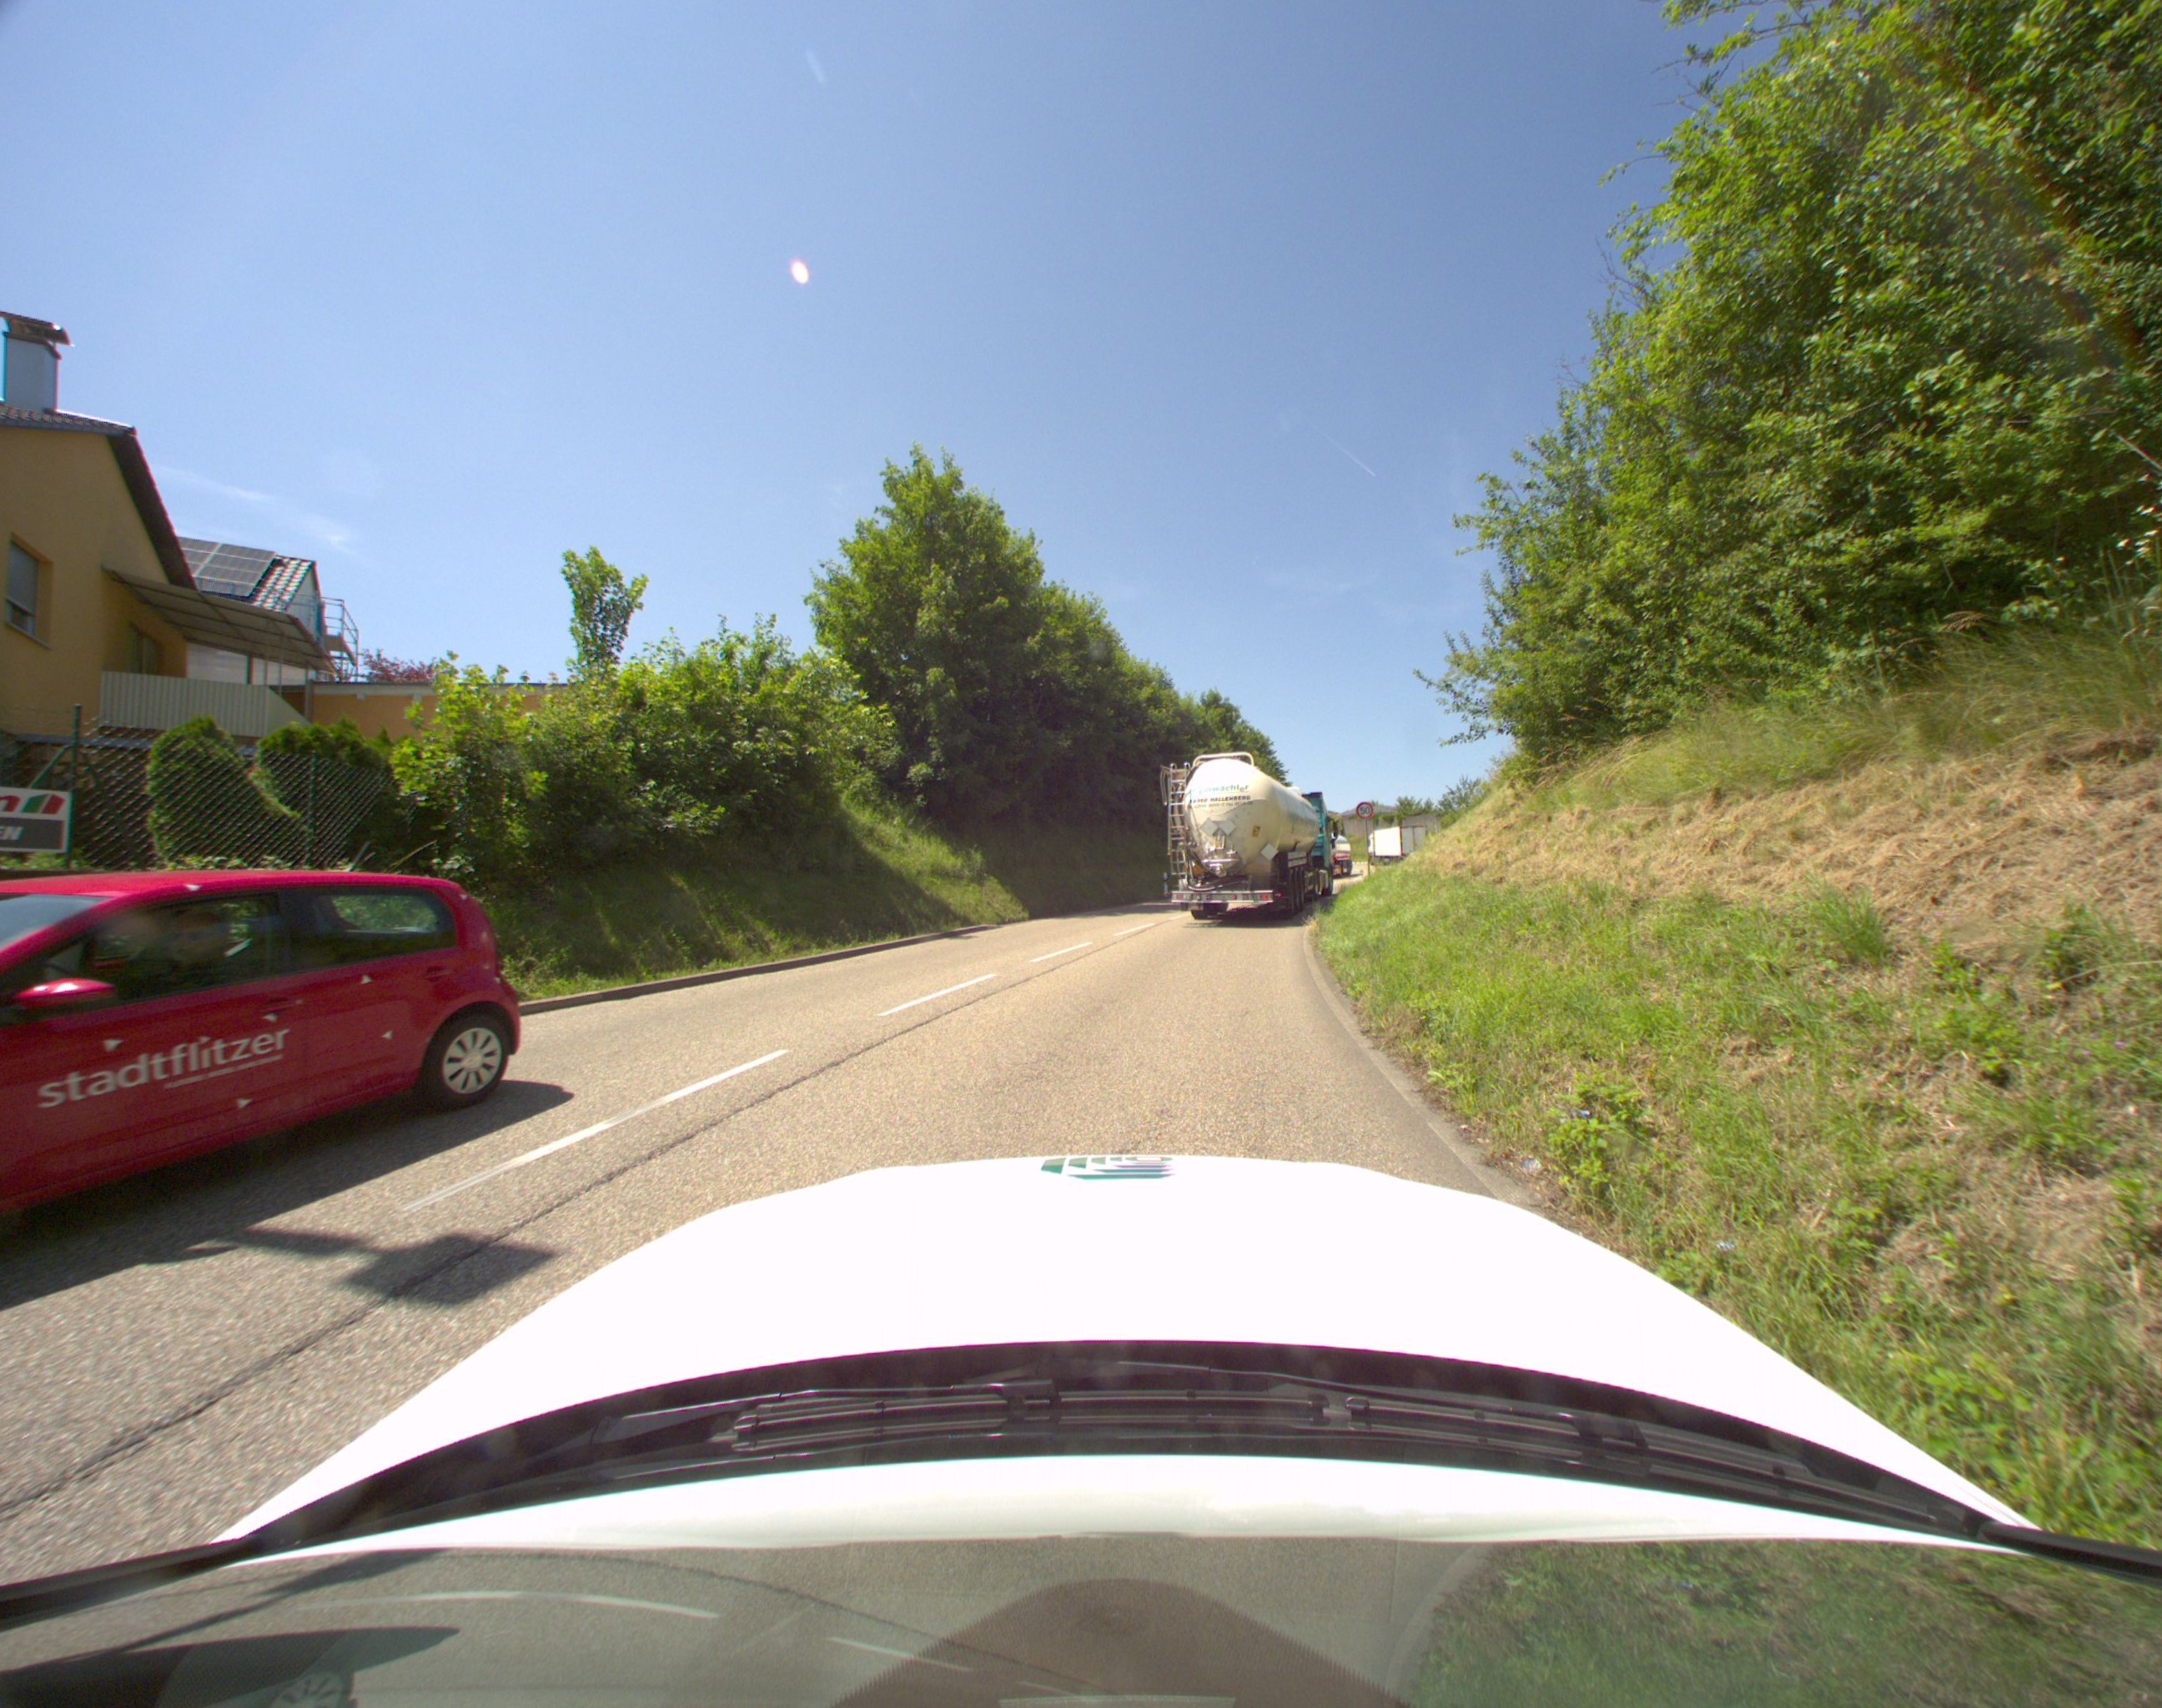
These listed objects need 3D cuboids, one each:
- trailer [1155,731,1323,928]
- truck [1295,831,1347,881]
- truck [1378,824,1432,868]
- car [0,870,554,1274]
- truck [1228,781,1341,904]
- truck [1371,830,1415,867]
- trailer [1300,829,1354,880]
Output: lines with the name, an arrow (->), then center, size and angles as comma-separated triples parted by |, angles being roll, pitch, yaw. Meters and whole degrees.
trailer -> 5.055, -0.467, 23.319 | 2.638, 4.189, 11.964 | -2, -1, 21
truck -> 16.865, 0.159, 56.908 | 2.603, 3.170, 7.106 | -3, -1, 22
truck -> 33.867, -0.774, 85.724 | 3.169, 4.309, 11.837 | -1, 0, 11
car -> -4.693, 0.835, 3.888 | 1.646, 1.458, 3.644 | -1, -1, 8
truck -> 7.687, -0.293, 30.022 | 2.702, 3.930, 7.303 | -2, -1, 24
truck -> 34.932, -0.584, 91.550 | 3.169, 3.933, 8.277 | -1, 0, 11
trailer -> 18.525, 0.046, 60.889 | 2.610, 3.373, 11.202 | -3, -1, 22
